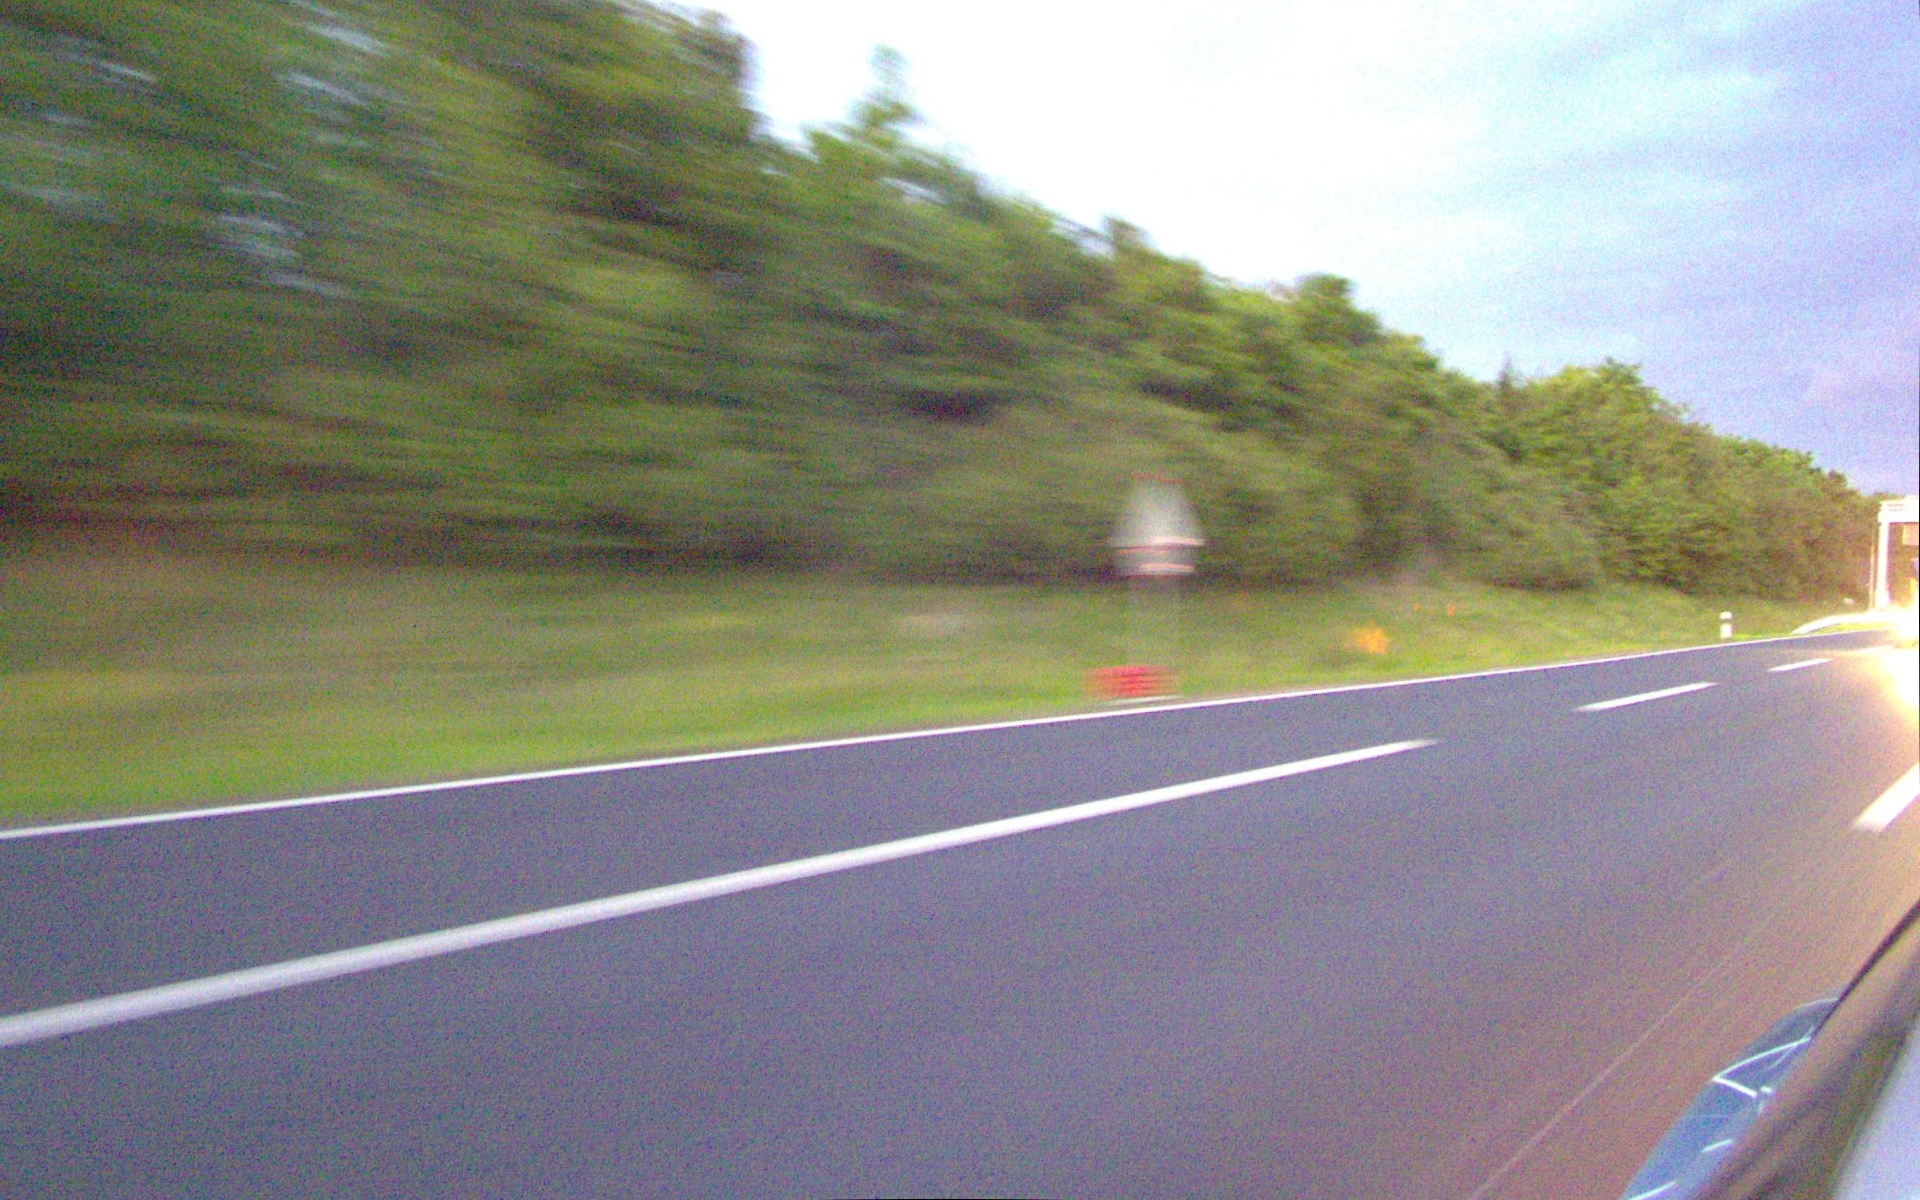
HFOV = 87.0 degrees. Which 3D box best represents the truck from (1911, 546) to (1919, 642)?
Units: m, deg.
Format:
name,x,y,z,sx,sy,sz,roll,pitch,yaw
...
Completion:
name,x,y,z,sx,sy,sz,roll,pitch,yaw
truck,33.199,-0.165,33.225,6.516,3.010,2.272,0,-1,-41
